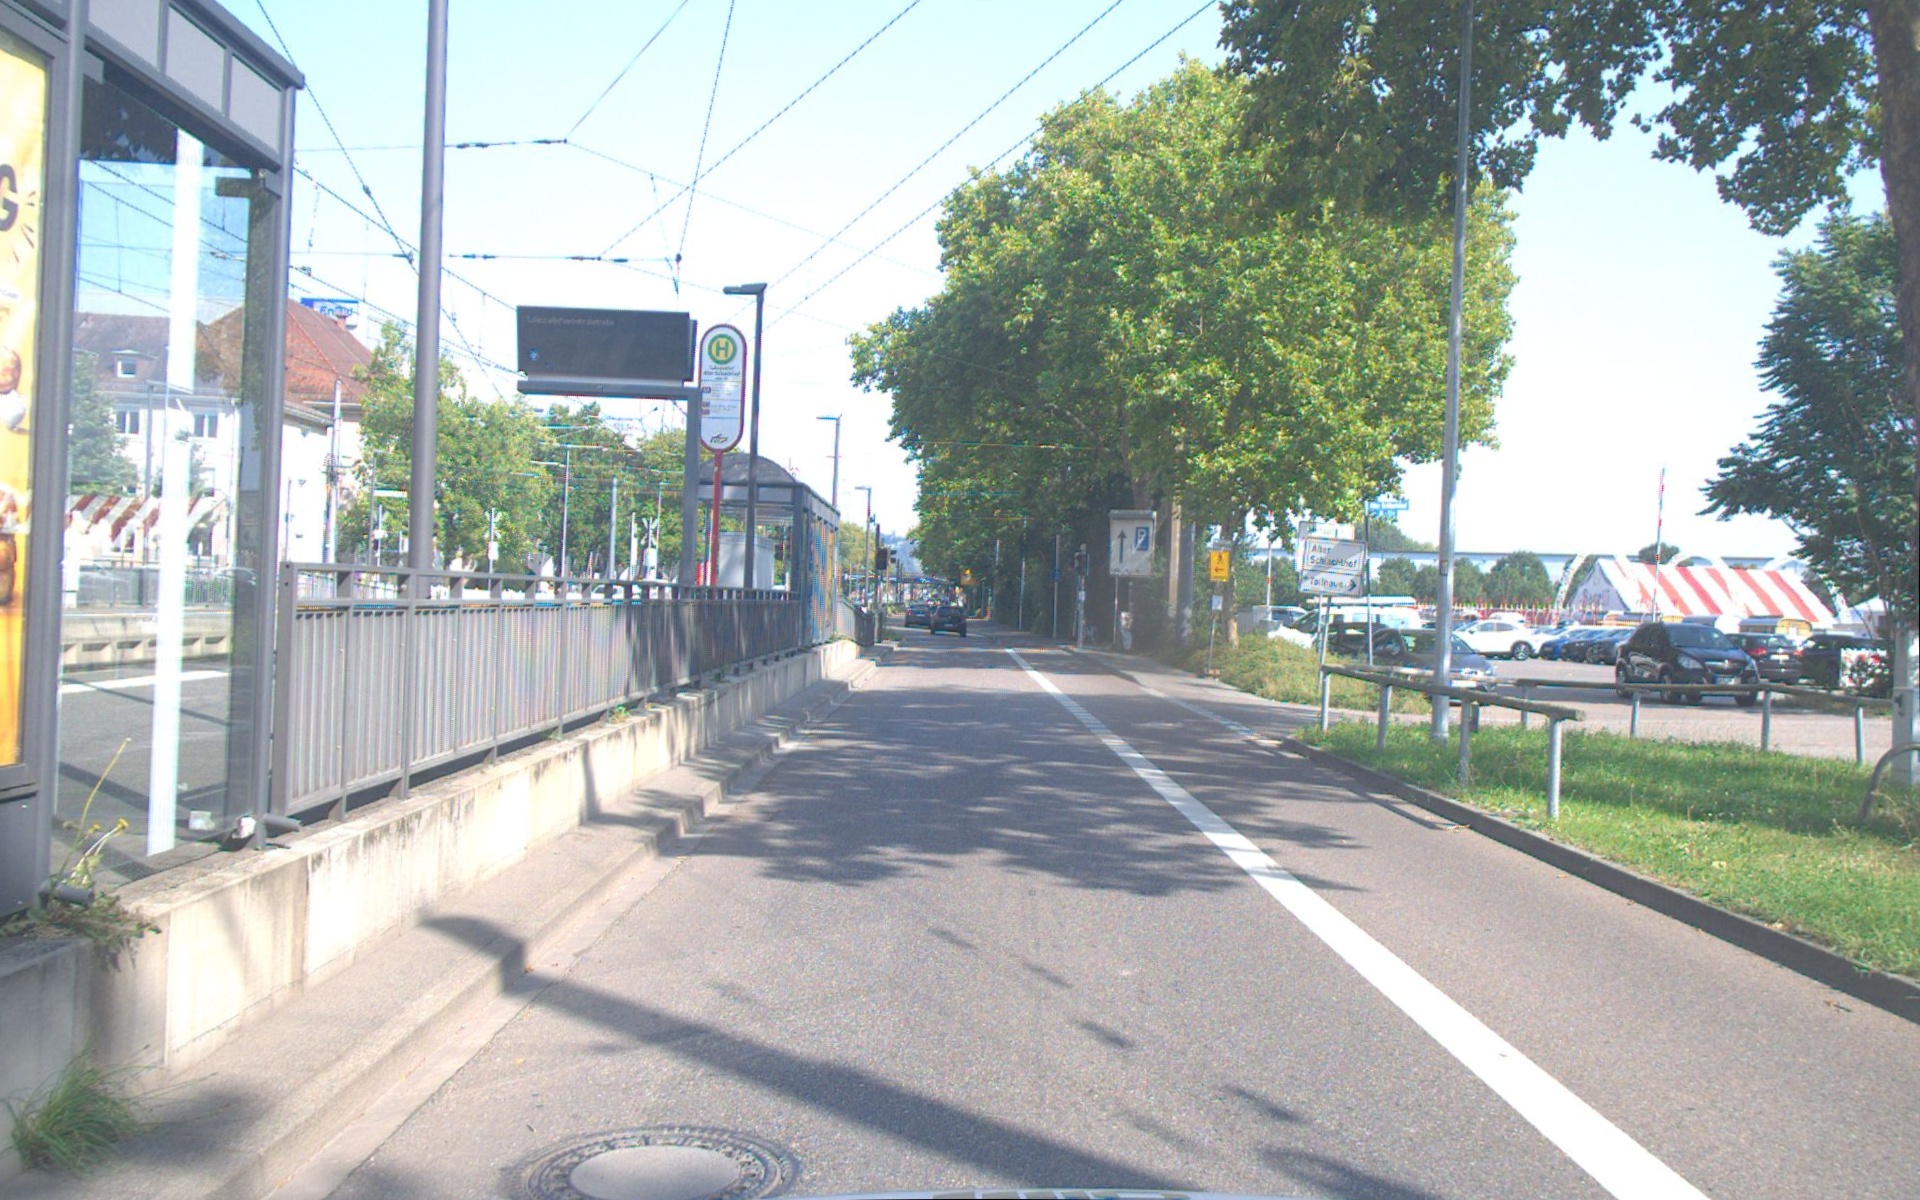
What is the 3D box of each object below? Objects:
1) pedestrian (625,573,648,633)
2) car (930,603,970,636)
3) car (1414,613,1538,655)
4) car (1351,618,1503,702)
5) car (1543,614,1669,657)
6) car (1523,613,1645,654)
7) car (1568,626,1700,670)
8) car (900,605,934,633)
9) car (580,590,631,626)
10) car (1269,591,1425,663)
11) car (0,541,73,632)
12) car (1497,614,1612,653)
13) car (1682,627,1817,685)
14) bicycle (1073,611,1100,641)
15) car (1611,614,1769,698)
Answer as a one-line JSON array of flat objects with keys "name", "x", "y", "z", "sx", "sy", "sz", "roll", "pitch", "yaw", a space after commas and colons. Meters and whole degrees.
[{"name": "pedestrian", "x": -10.104, "y": 0.098, "z": 51.697, "sx": 0.695, "sy": 1.853, "sz": 0.771, "roll": 1, "pitch": -2, "yaw": -11}, {"name": "car", "x": -0.532, "y": 0.956, "z": 81.076, "sx": 1.869, "sy": 1.564, "sz": 3.998, "roll": 0, "pitch": 0, "yaw": -2}, {"name": "car", "x": 20.402, "y": 1.350, "z": 65.445, "sx": 4.257, "sy": 1.489, "sz": 1.946, "roll": 2, "pitch": 0, "yaw": -3}, {"name": "car", "x": 9.236, "y": 1.150, "z": 33.088, "sx": 1.693, "sy": 1.474, "sz": 4.550, "roll": 1, "pitch": 0, "yaw": -1}, {"name": "car", "x": 25.886, "y": 1.405, "z": 66.339, "sx": 4.257, "sy": 1.489, "sz": 1.946, "roll": 3, "pitch": 0, "yaw": -3}, {"name": "car", "x": 25.822, "y": 1.384, "z": 68.547, "sx": 4.257, "sy": 1.489, "sz": 1.946, "roll": 3, "pitch": 0, "yaw": -3}, {"name": "car", "x": 26.006, "y": 1.831, "z": 63.908, "sx": 4.300, "sy": 1.489, "sz": 1.948, "roll": 2, "pitch": 0, "yaw": 2}, {"name": "car", "x": -2.613, "y": 1.124, "z": 100.019, "sx": 1.933, "sy": 1.564, "sz": 3.998, "roll": -1, "pitch": 0, "yaw": -2}, {"name": "car", "x": -19.807, "y": 0.441, "z": 92.562, "sx": 1.953, "sy": 1.870, "sz": 3.999, "roll": 3, "pitch": 0, "yaw": -2}, {"name": "car", "x": 10.879, "y": 0.746, "z": 46.693, "sx": 4.018, "sy": 1.952, "sz": 1.848, "roll": 1, "pitch": 0, "yaw": 2}, {"name": "car", "x": -20.144, "y": -0.247, "z": 33.731, "sx": 1.953, "sy": 1.785, "sz": 3.999, "roll": -1, "pitch": -1, "yaw": 0}, {"name": "car", "x": 25.872, "y": 1.457, "z": 72.048, "sx": 4.257, "sy": 1.489, "sz": 1.946, "roll": 3, "pitch": 0, "yaw": -3}, {"name": "car", "x": 22.471, "y": 1.564, "z": 47.268, "sx": 1.777, "sy": 1.420, "sz": 4.116, "roll": 2, "pitch": 0, "yaw": -1}, {"name": "bicycle", "x": 4.743, "y": 0.962, "z": 61.999, "sx": 0.598, "sy": 1.039, "sz": 2.400, "roll": 2, "pitch": 0, "yaw": -5}, {"name": "car", "x": 15.191, "y": 1.130, "z": 34.604, "sx": 1.575, "sy": 1.603, "sz": 3.795, "roll": 1, "pitch": 0, "yaw": -1}]
